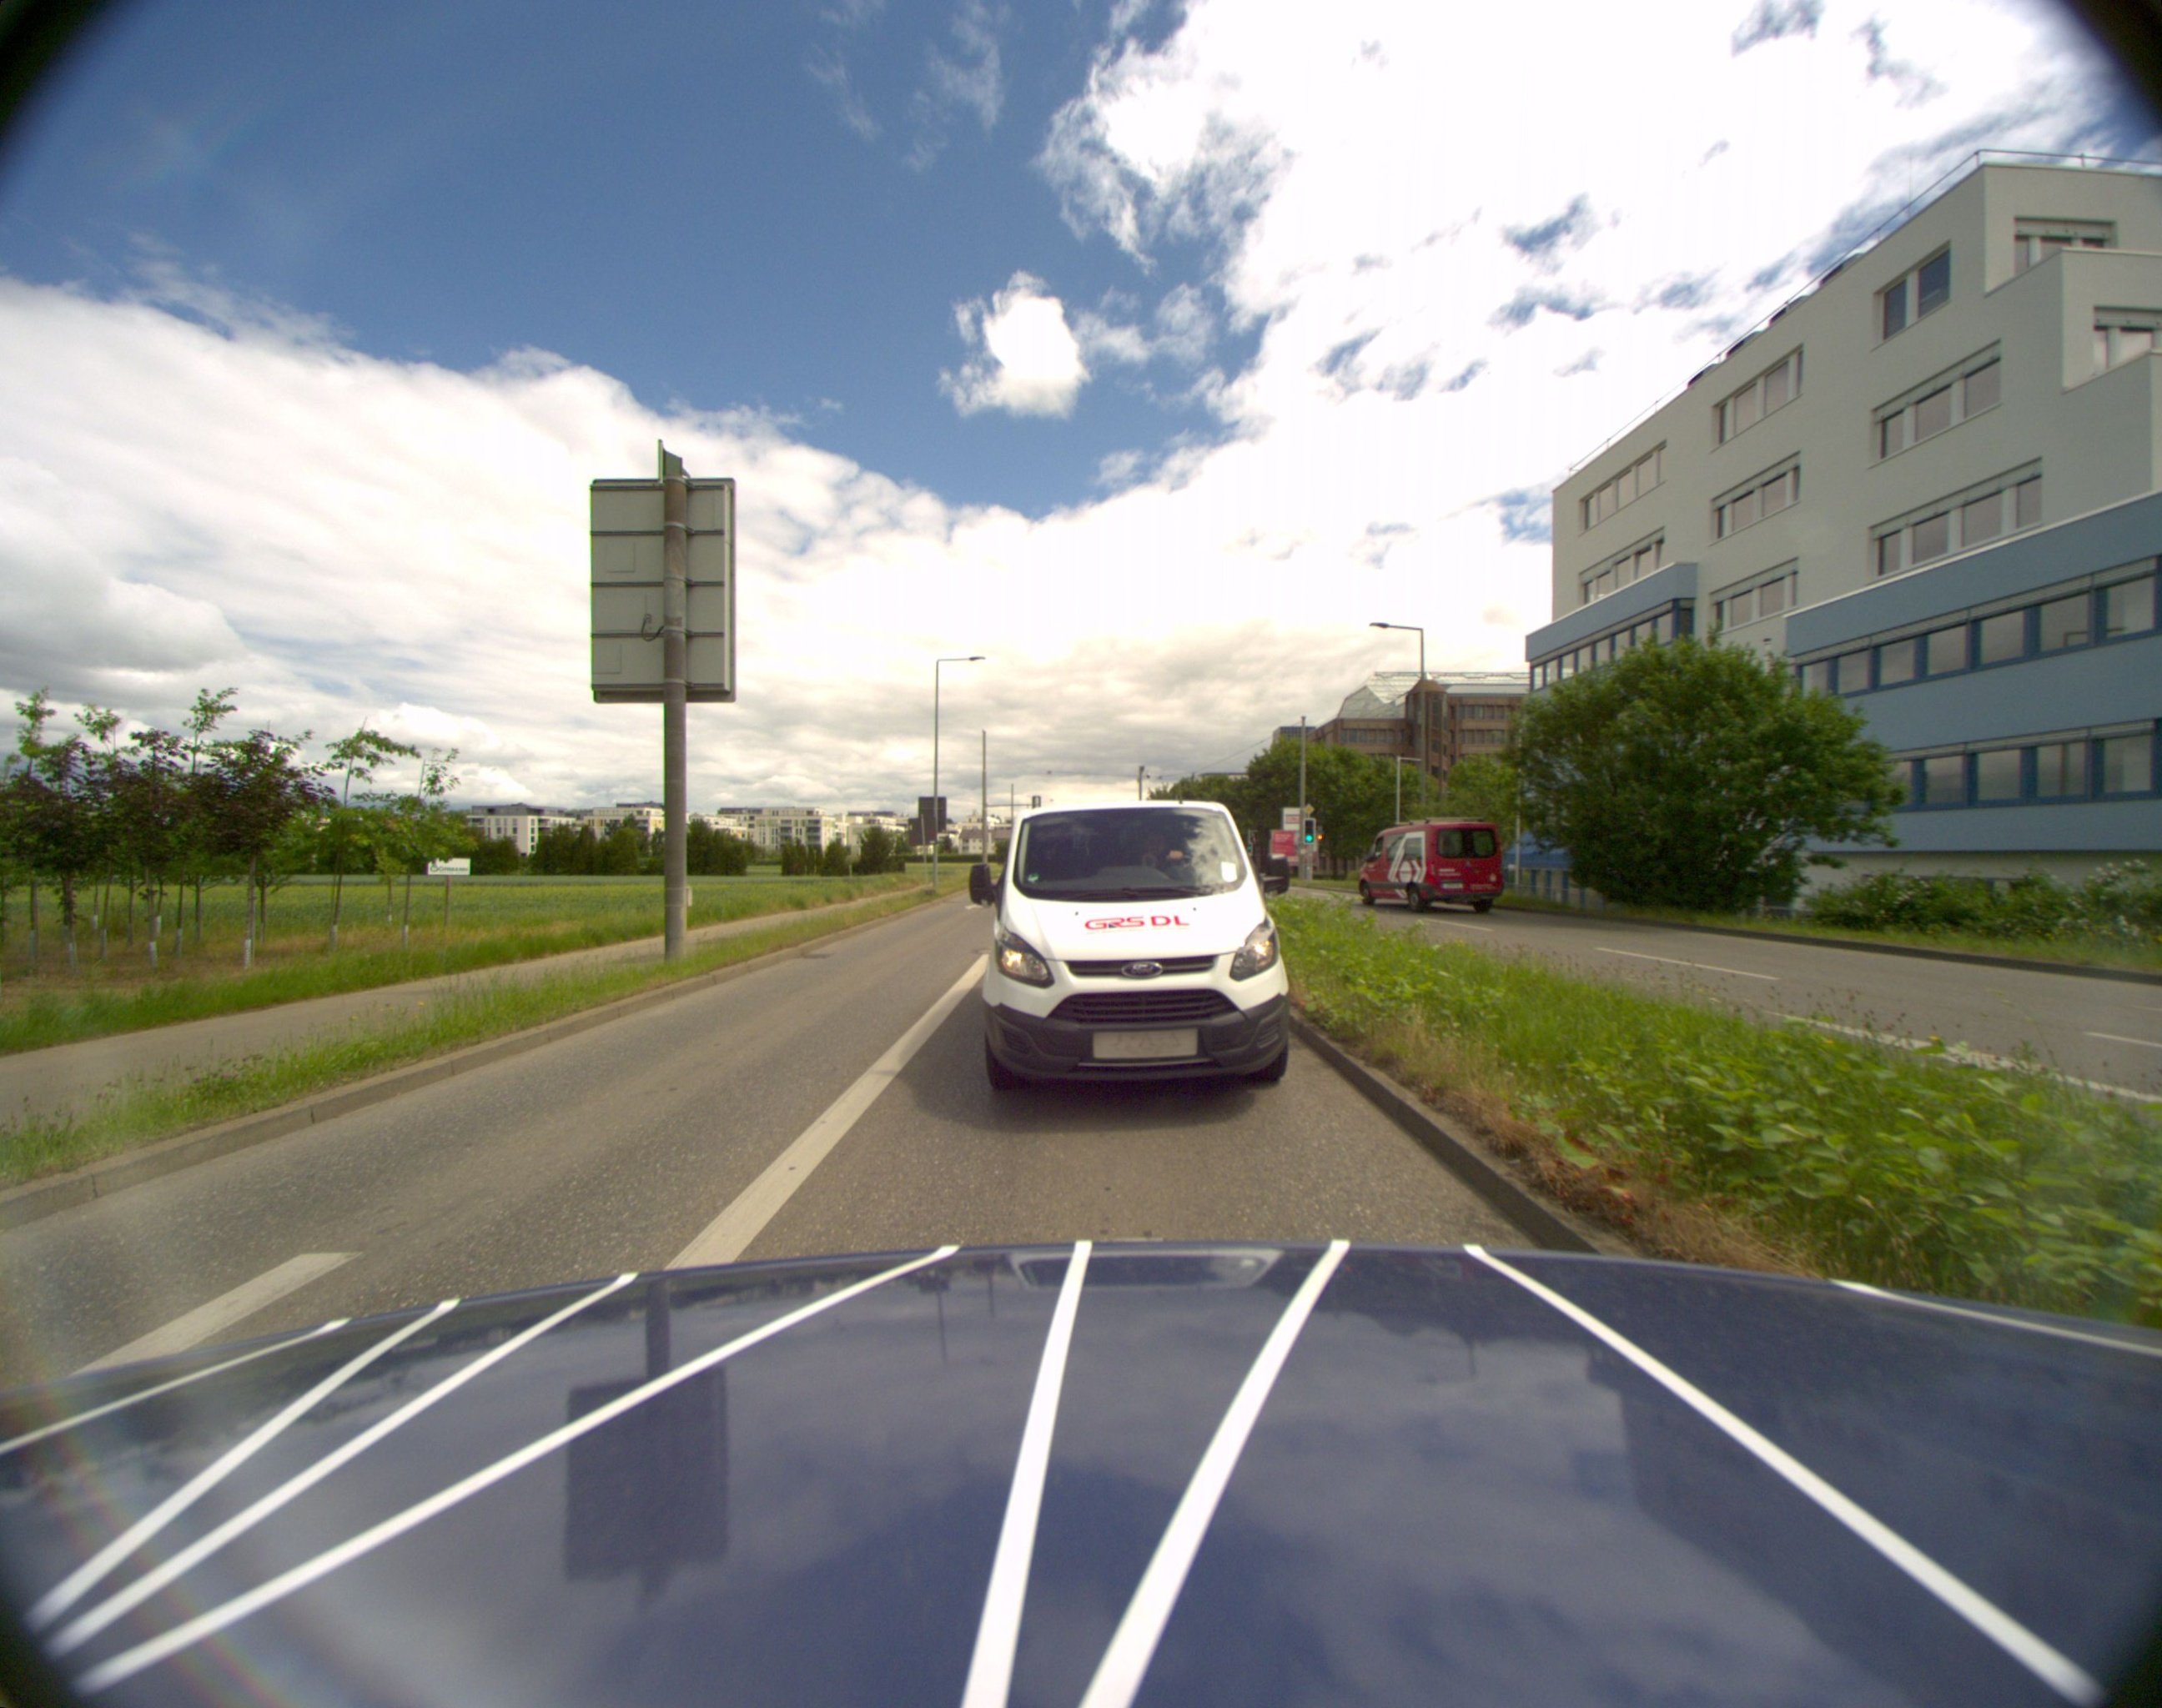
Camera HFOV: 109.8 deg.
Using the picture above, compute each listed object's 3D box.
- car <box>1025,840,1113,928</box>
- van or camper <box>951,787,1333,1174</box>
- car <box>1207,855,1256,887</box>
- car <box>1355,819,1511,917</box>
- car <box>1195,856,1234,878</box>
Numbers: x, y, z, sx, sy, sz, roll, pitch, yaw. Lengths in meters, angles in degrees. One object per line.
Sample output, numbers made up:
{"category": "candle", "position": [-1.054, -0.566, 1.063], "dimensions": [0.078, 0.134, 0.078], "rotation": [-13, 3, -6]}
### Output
{"category": "car", "position": [-0.245, 0.682, 19.364], "dimensions": [1.998, 2.002, 4.000], "rotation": [0, 0, 1]}
{"category": "van or camper", "position": [0.212, 0.659, 6.865], "dimensions": [1.999, 2.002, 5.798], "rotation": [0, 0, -2]}
{"category": "car", "position": [7.496, 0.825, 38.259], "dimensions": [1.683, 1.473, 4.000], "rotation": [-1, 0, 0]}
{"category": "car", "position": [9.633, 0.328, 21.379], "dimensions": [1.998, 2.398, 5.240], "rotation": [0, 0, 0]}
{"category": "car", "position": [9.043, 0.854, 51.806], "dimensions": [1.937, 1.390, 4.000], "rotation": [-1, 0, 0]}
